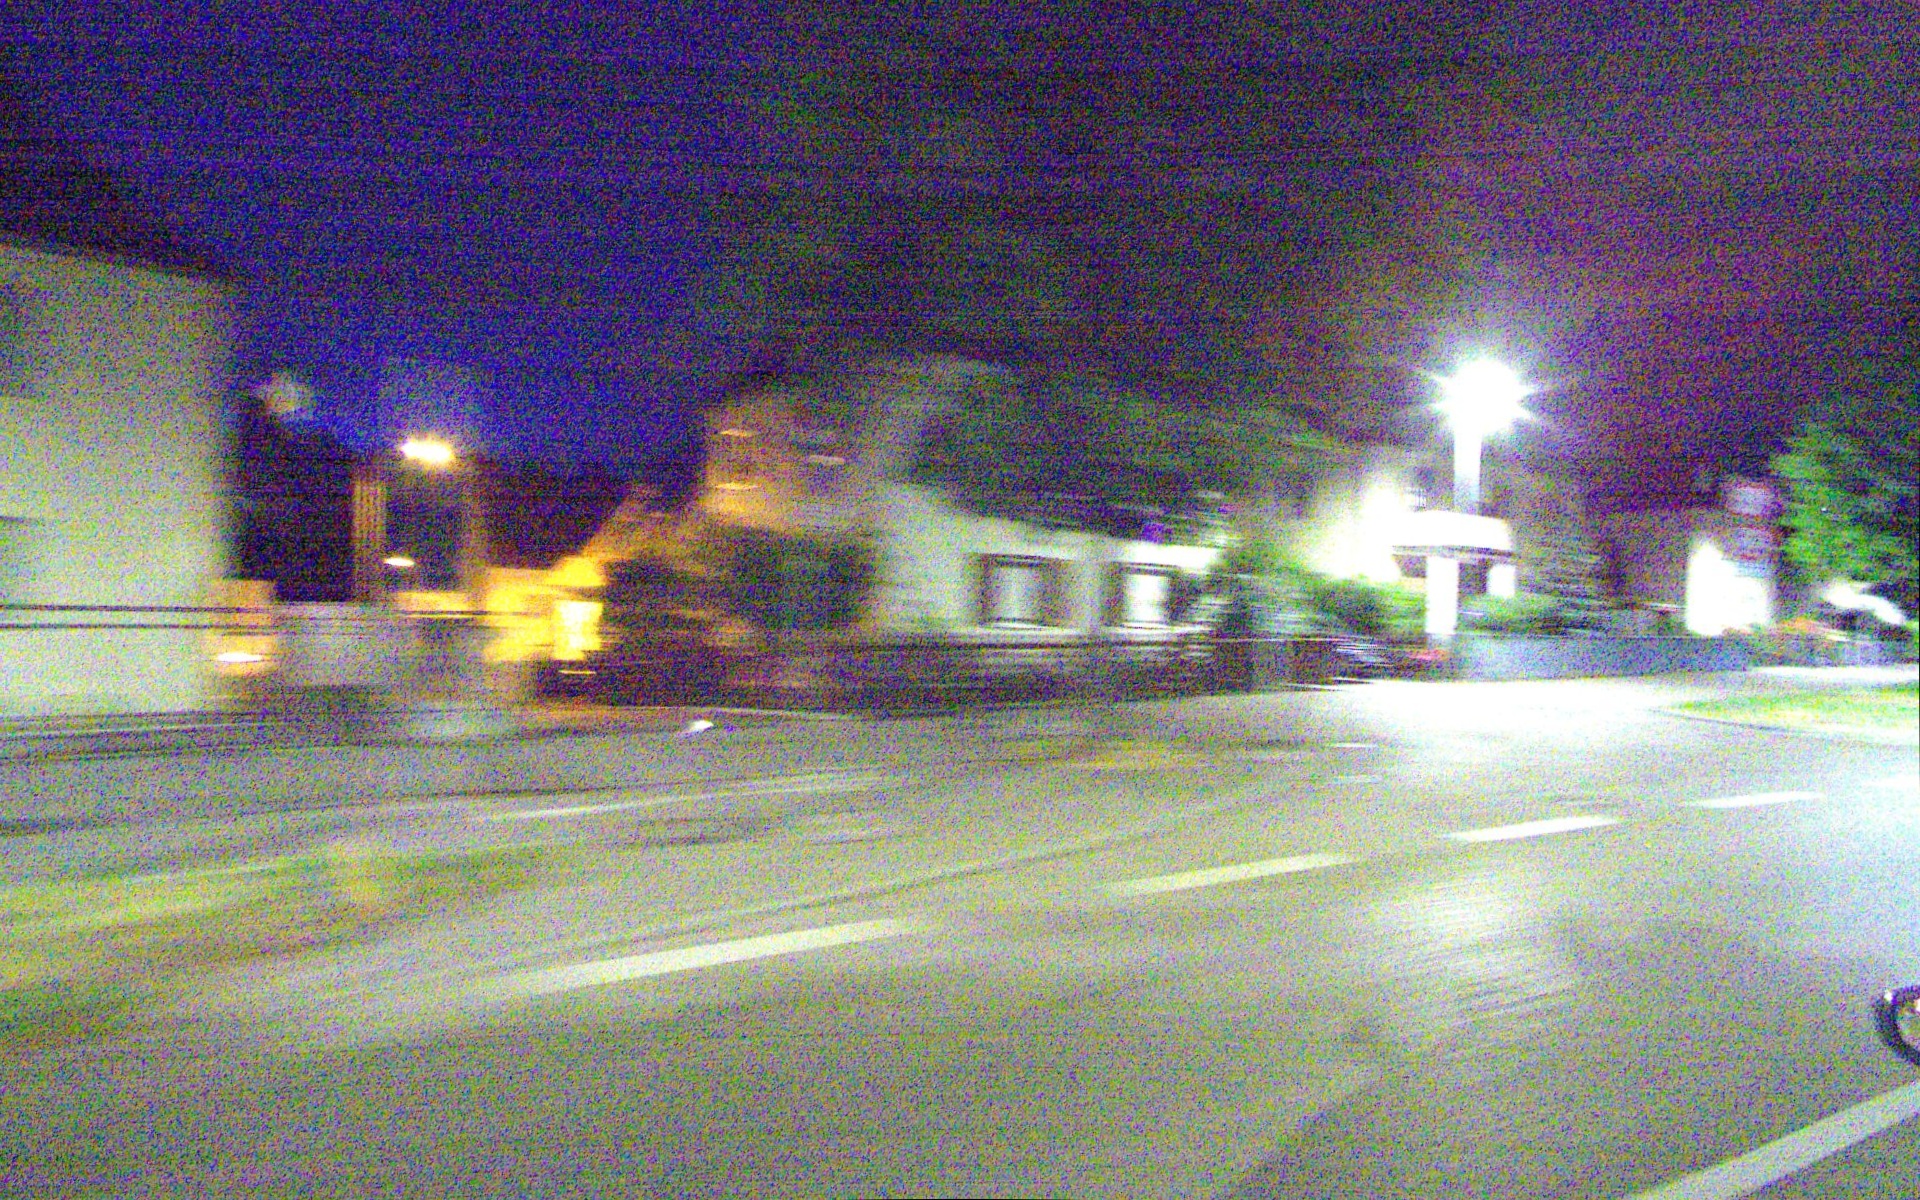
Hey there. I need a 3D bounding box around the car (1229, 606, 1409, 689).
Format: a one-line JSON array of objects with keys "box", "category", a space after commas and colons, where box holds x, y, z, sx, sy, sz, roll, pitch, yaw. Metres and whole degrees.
[{"box": [7.826, 0.992, 22.244, 1.756, 1.648, 3.707, 1, 0, -21], "category": "car"}]
